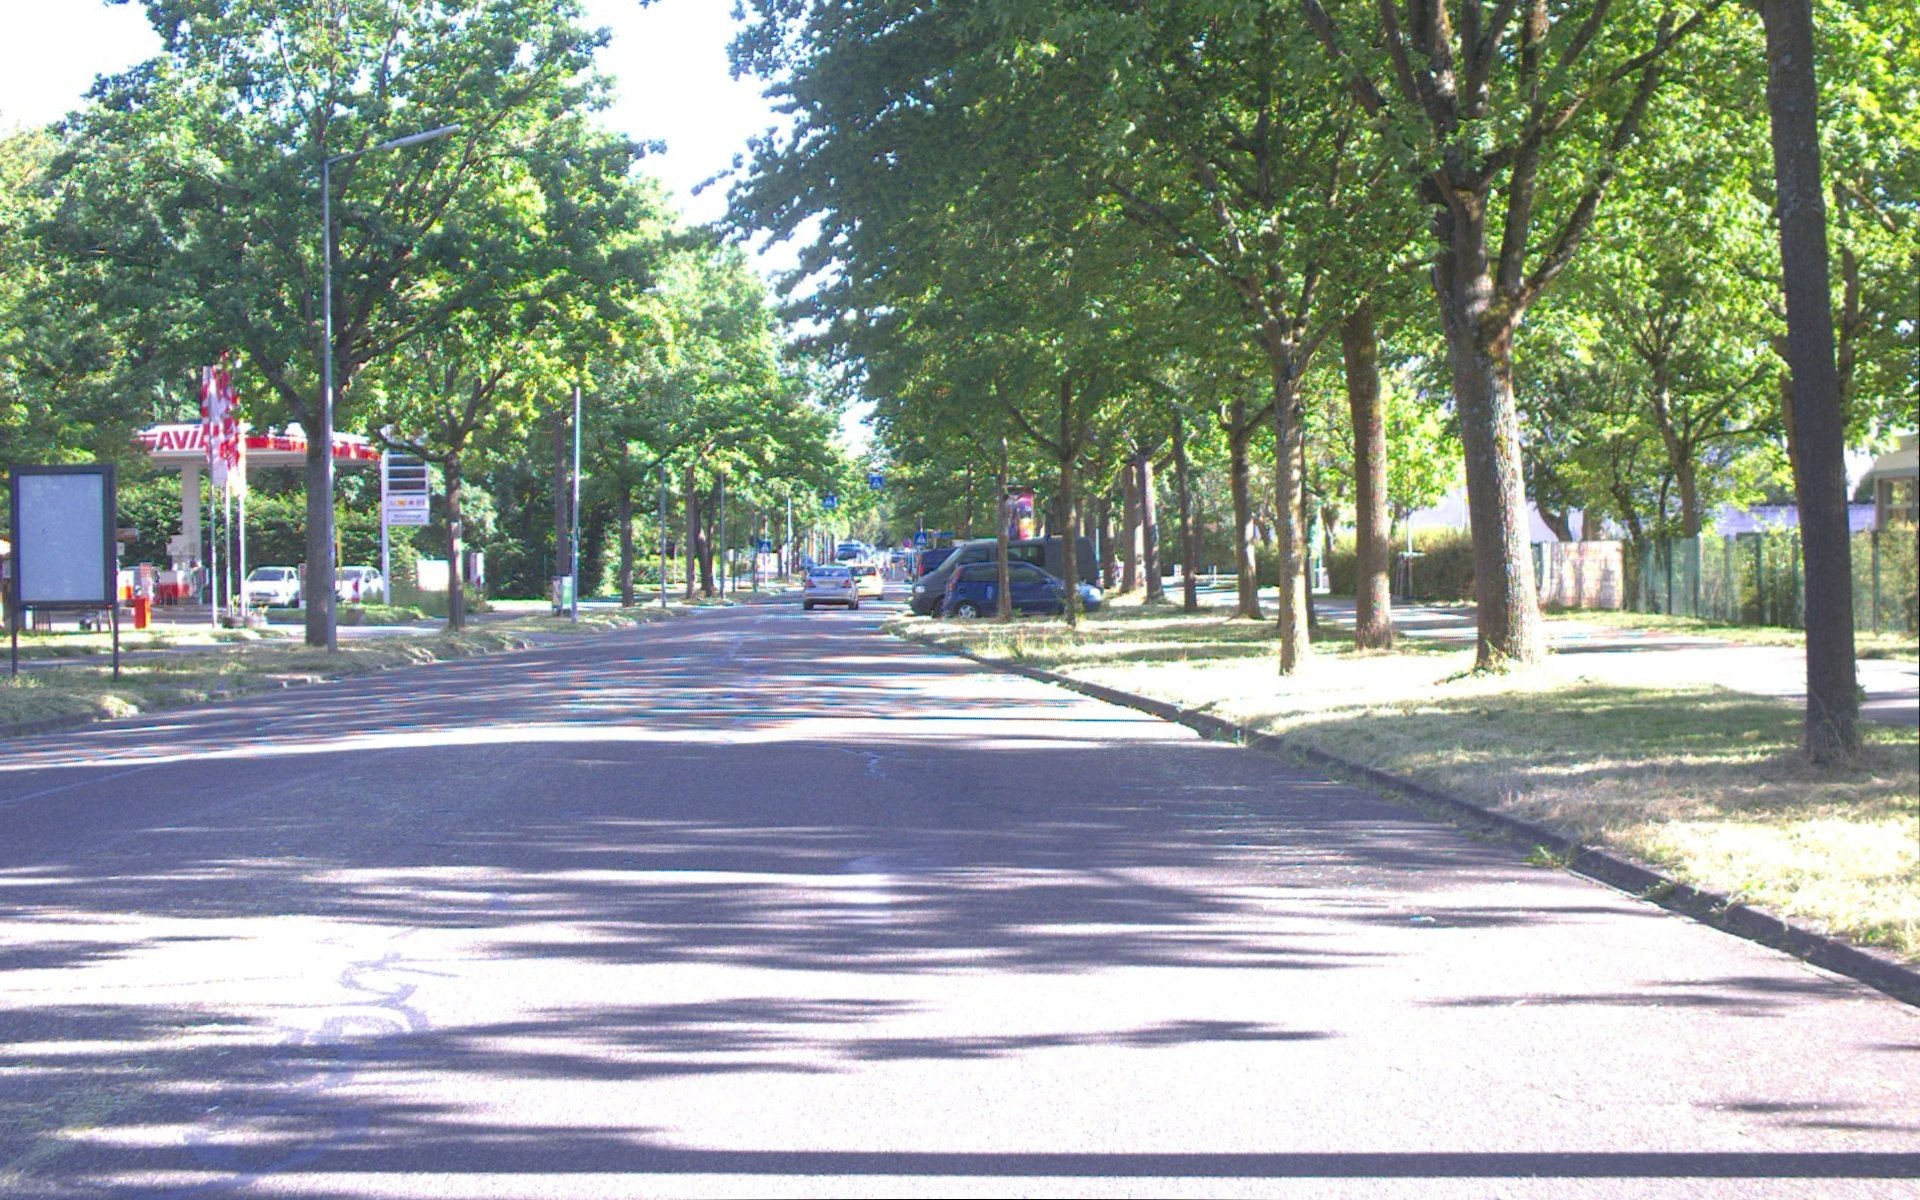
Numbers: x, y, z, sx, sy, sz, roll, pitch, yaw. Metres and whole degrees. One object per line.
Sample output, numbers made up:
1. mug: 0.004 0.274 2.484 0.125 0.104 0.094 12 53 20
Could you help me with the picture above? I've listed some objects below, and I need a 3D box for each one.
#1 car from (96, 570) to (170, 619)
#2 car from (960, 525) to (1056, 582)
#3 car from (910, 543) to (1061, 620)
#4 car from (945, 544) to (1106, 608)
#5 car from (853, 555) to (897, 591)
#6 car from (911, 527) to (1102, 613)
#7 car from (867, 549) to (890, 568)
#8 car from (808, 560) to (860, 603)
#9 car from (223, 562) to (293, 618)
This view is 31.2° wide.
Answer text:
1. car: -28.921 -0.181 120.316 1.801 1.615 3.805 -1 -1 -3
2. car: 1.830 -1.786 131.891 3.567 2.044 1.633 -1 -2 -1
3. car: 0.623 -0.459 85.667 3.653 1.791 1.317 -1 -1 -1
4. car: 1.518 -0.558 80.216 3.653 1.393 1.317 -1 -1 -1
5. car: -3.403 -1.069 136.967 1.661 1.332 3.665 -1 -1 -2
6. car: 1.098 -0.719 83.188 4.502 1.946 1.687 -1 -1 -1
7. car: -6.209 -3.147 262.072 1.661 1.332 3.665 -1 -1 -2
8. car: -4.138 -0.589 112.856 1.661 1.332 3.665 -1 -1 -2
9. car: -24.028 -0.331 117.805 1.801 1.817 3.805 -1 -1 -3
